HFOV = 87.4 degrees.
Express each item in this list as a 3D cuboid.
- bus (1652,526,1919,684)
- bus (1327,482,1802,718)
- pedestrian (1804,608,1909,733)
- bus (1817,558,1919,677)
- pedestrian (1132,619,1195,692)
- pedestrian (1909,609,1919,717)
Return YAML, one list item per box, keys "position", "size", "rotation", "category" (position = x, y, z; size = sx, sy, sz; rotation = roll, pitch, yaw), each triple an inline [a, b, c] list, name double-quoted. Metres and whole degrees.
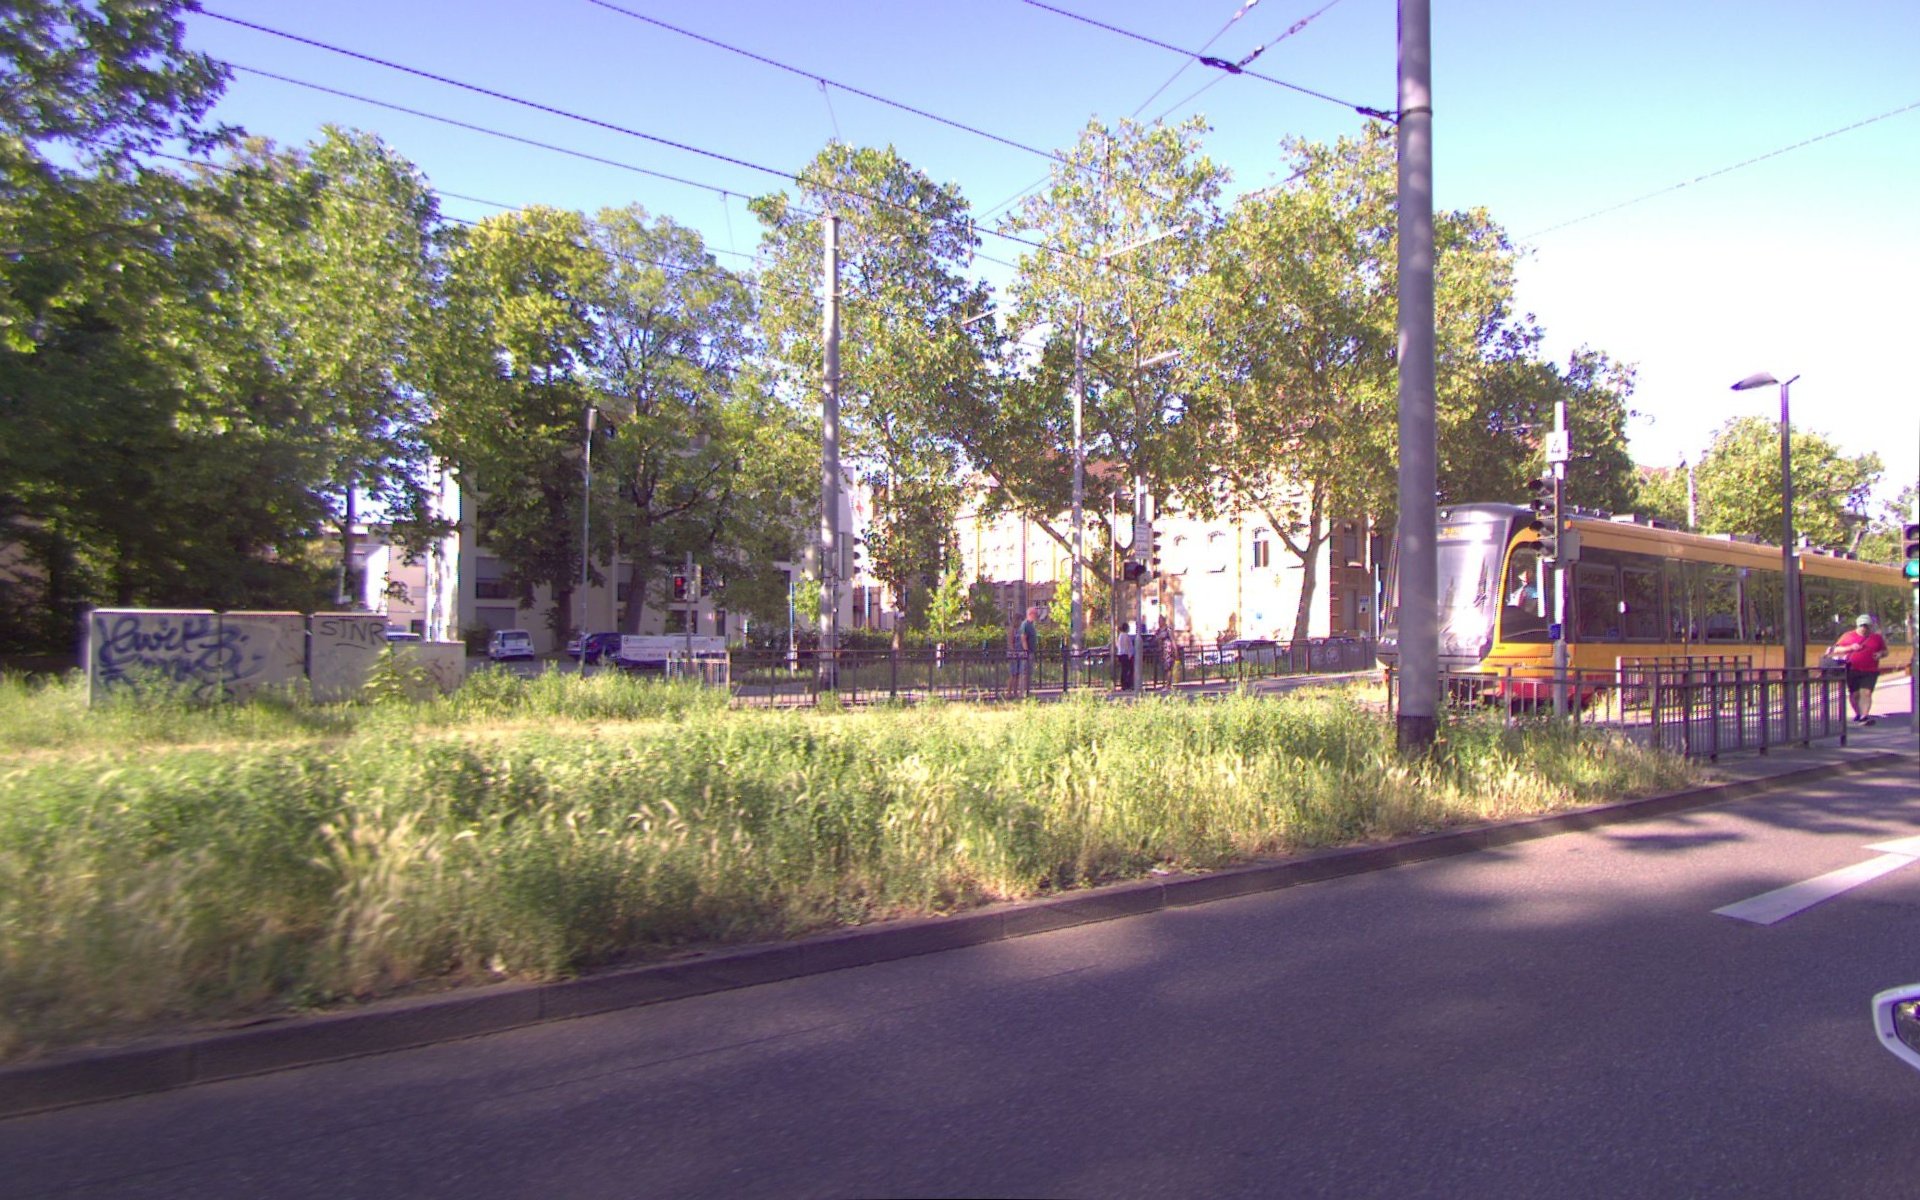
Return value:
- position: [22.722, 0.329, 26.854]
  size: [12.090, 3.489, 2.851]
  rotation: [2, -2, -34]
  category: "bus"
- position: [12.455, 0.235, 19.728]
  size: [13.081, 3.489, 2.851]
  rotation: [2, -2, -34]
  category: "bus"
- position: [14.629, 1.127, 16.402]
  size: [1.116, 1.941, 1.065]
  rotation: [2, -2, -36]
  category: "pedestrian"
- position: [32.456, 0.711, 33.608]
  size: [11.492, 3.489, 2.851]
  rotation: [2, -2, -34]
  category: "bus"
- position: [4.781, 1.290, 23.602]
  size: [0.886, 1.665, 1.166]
  rotation: [2, -2, -41]
  category: "pedestrian"
- position: [17.412, 1.132, 18.055]
  size: [0.580, 1.928, 0.446]
  rotation: [2, -2, -42]
  category: "pedestrian"
